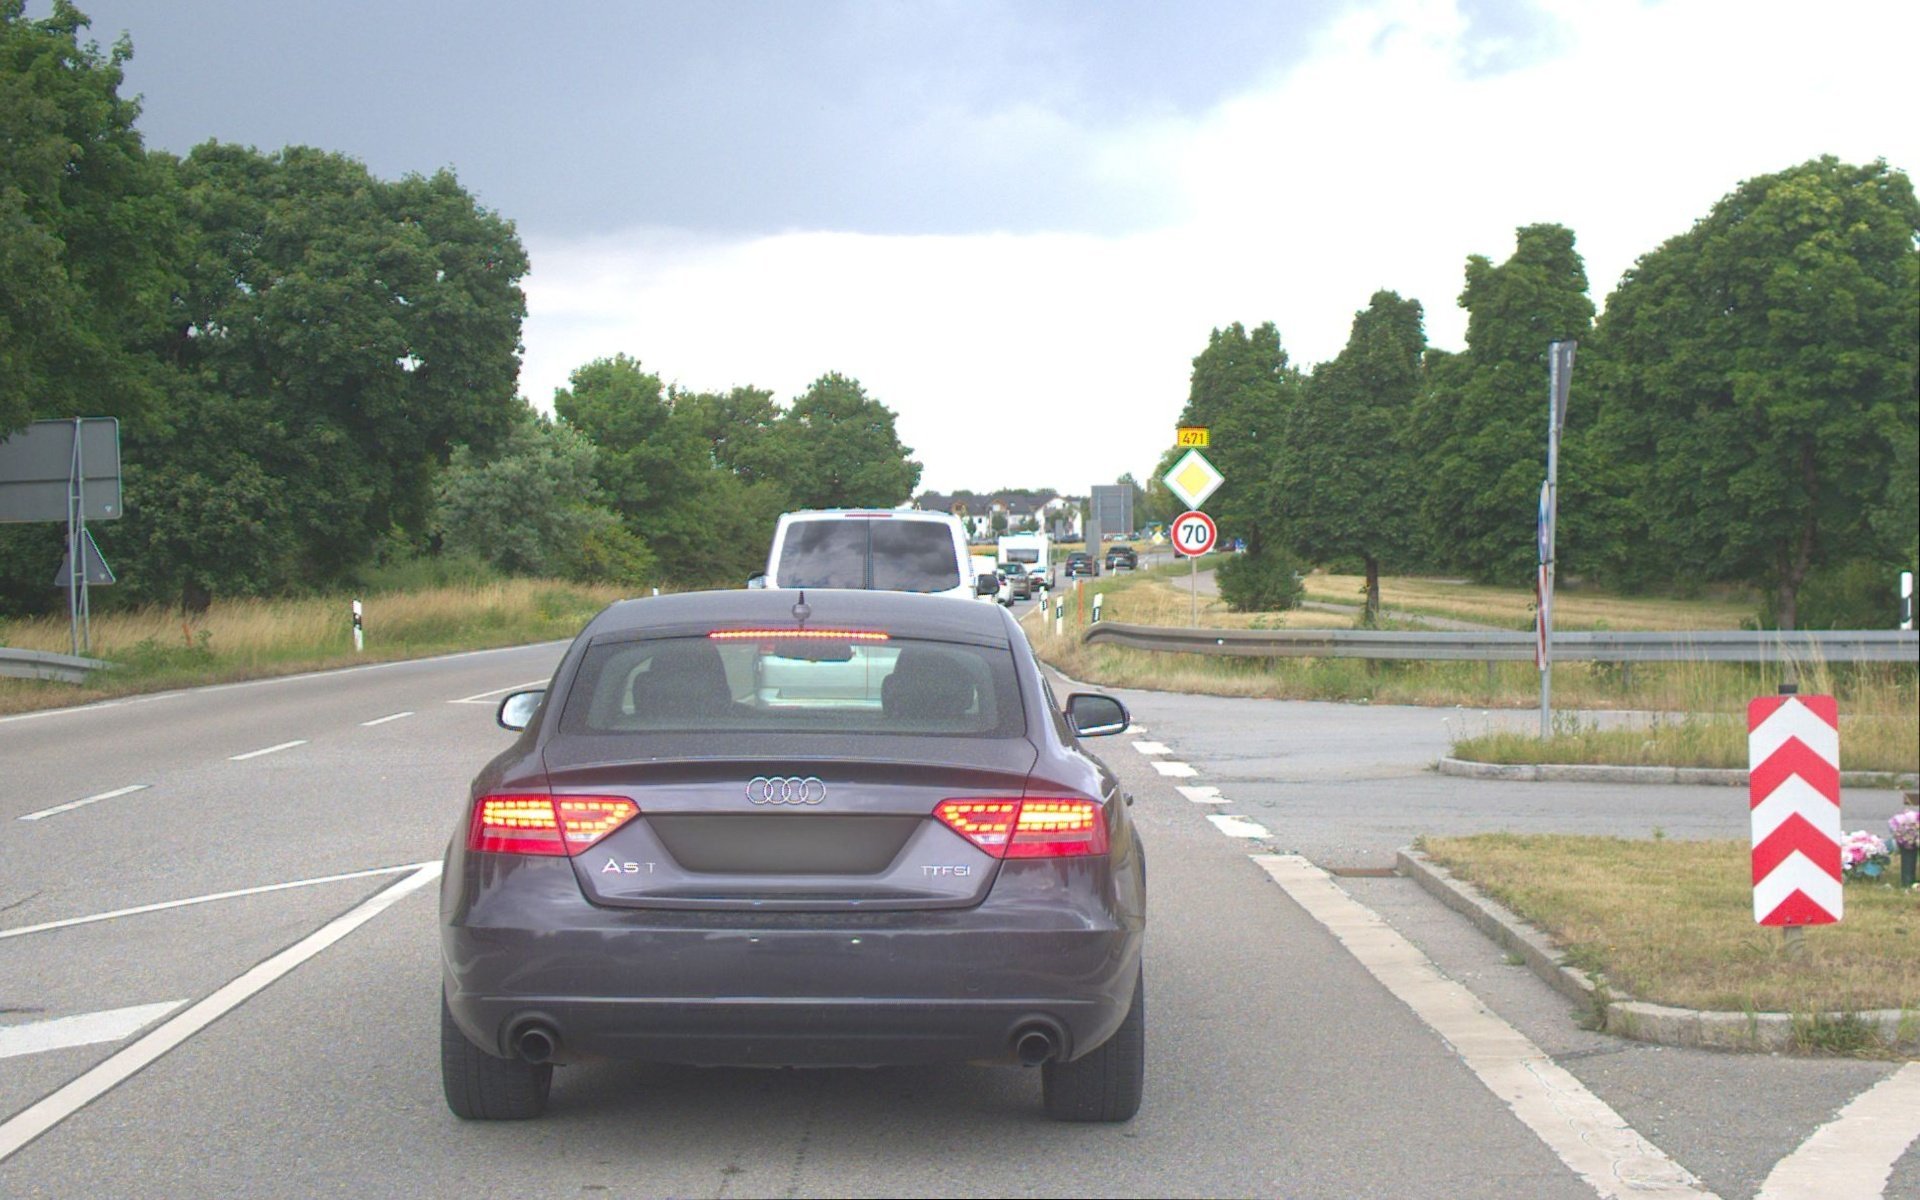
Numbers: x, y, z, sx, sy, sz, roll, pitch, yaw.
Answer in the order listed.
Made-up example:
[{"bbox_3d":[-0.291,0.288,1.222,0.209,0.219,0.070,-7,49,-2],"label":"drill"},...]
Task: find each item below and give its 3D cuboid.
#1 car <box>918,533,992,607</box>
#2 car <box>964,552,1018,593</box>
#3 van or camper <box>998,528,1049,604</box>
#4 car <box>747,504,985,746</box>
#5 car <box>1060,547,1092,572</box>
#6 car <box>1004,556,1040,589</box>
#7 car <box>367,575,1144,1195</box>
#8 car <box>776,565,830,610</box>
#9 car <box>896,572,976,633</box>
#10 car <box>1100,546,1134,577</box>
[{"bbox_3d":[-0.130,-0.878,99.679,1.994,2.081,4.000,0,1,2],"label":"car"},{"bbox_3d":[1.189,-1.050,129.699,1.736,1.509,3.746,0,1,5],"label":"car"},{"bbox_3d":[2.988,-1.607,160.749,2.340,3.469,5.718,0,1,2],"label":"van or camper"},{"bbox_3d":[-0.755,0.159,28.886,1.838,1.876,4.000,1,1,-1],"label":"car"},{"bbox_3d":[6.691,-2.341,198.266,1.719,1.446,4.000,1,1,1],"label":"car"},{"bbox_3d":[2.581,-1.139,142.583,1.258,1.349,3.465,0,1,5],"label":"car"},{"bbox_3d":[-0.497,0.646,9.956,1.783,1.372,4.000,1,1,-1],"label":"car"},{"bbox_3d":[-5.468,-0.449,120.035,1.711,1.517,4.000,0,1,0],"label":"car"},{"bbox_3d":[-0.576,0.040,85.075,1.796,1.459,3.248,0,1,3],"label":"car"},{"bbox_3d":[10.255,-2.538,225.198,1.993,2.007,4.000,0,1,-1],"label":"car"}]
